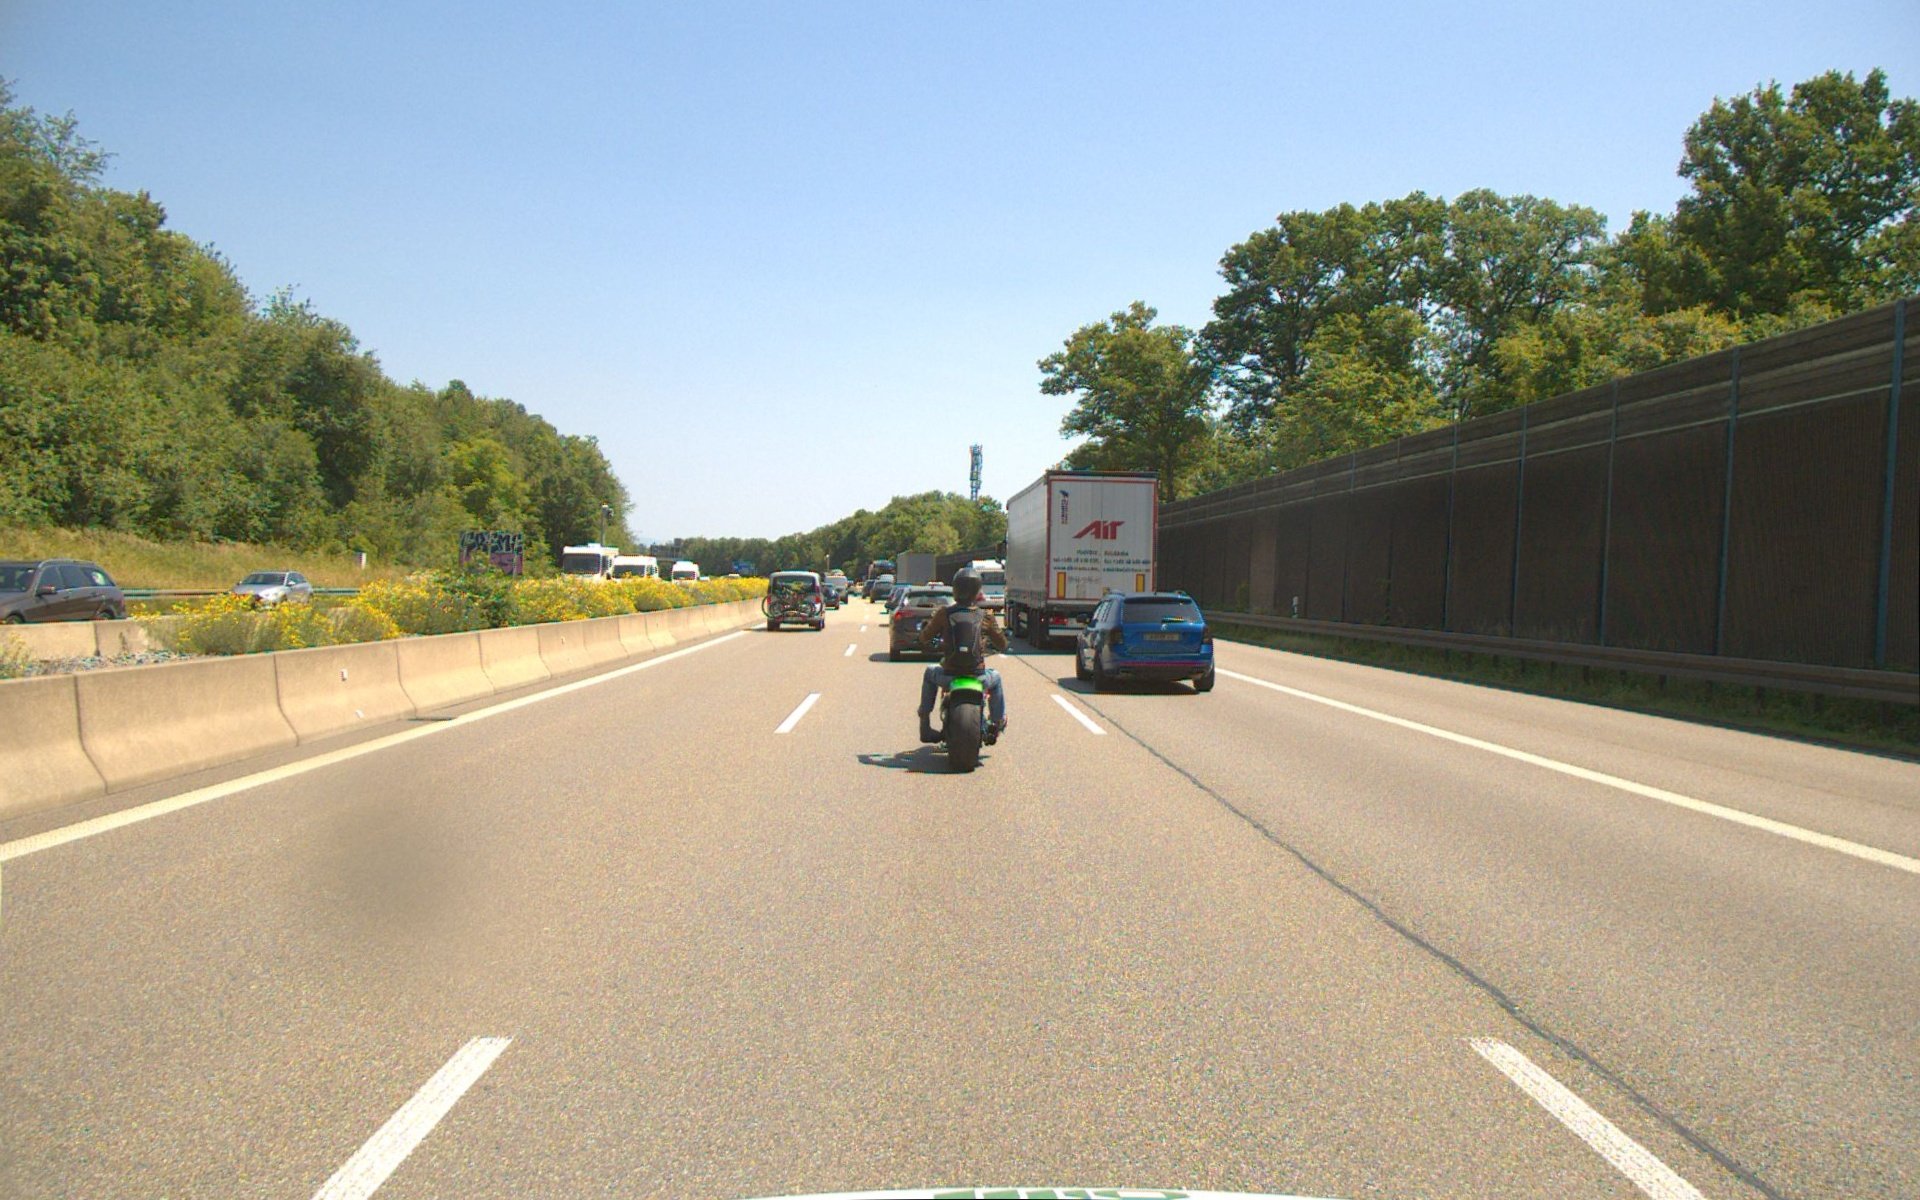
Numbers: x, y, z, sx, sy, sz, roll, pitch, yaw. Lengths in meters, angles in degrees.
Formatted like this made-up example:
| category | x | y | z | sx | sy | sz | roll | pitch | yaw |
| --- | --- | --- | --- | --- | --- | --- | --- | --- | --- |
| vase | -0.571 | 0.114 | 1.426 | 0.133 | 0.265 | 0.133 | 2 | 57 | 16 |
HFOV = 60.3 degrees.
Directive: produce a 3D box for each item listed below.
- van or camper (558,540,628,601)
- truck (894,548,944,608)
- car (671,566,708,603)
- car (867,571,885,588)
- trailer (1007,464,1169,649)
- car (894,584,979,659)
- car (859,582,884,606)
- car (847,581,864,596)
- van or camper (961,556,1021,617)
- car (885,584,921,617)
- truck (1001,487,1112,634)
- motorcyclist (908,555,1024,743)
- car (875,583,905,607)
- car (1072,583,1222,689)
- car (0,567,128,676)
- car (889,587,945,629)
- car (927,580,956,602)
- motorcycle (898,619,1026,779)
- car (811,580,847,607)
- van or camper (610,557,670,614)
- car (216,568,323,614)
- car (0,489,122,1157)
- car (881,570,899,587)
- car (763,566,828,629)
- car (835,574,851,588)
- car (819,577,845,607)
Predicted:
| category | x | y | z | sx | sy | sz | roll | pitch | yaw |
| --- | --- | --- | --- | --- | --- | --- | --- | --- | --- |
| van or camper | -21.965 | -1.688 | 99.438 | 2.489 | 3.375 | 8.998 | 0 | -1 | -2 |
| truck | -3.673 | -1.843 | 144.654 | 3.729 | 5.047 | 8.939 | 0 | -1 | -6 |
| car | -21.065 | -1.208 | 128.833 | 2.156 | 2.789 | 5.744 | 0 | 1 | -3 |
| car | -10.199 | -2.508 | 201.187 | 2.066 | 1.909 | 3.997 | 0 | -1 | -4 |
| trailer | 3.051 | -1.019 | 43.815 | 2.827 | 4.109 | 13.791 | 0 | 0 | -2 |
| car | -0.542 | 0.444 | 34.470 | 1.629 | 1.478 | 3.866 | 0 | -1 | -3 |
| car | -7.864 | -0.541 | 146.724 | 1.875 | 2.049 | 3.685 | 0 | -1 | -7 |
| car | -10.937 | -1.204 | 173.383 | 1.796 | 1.522 | 3.741 | 0 | -1 | -3 |
| van or camper | 1.465 | -0.622 | 81.429 | 2.631 | 2.862 | 6.800 | 0 | -1 | -1 |
| car | -2.817 | 0.015 | 82.245 | 1.743 | 1.579 | 3.584 | 1 | 1 | -1 |
| truck | 2.847 | -1.170 | 50.659 | 2.828 | 4.218 | 5.983 | 0 | 0 | -2 |
| motorcyclist | 0.081 | 0.403 | 14.181 | 0.881 | 1.501 | 1.873 | 0 | -1 | 3 |
| car | -5.020 | -0.347 | 117.879 | 1.954 | 1.669 | 3.996 | 0 | -1 | -5 |
| car | 2.834 | 0.536 | 25.897 | 1.618 | 1.508 | 4.478 | 0 | -1 | -3 |
| car | -15.263 | 0.297 | 26.286 | 1.953 | 1.614 | 4.272 | 0 | 0 | -1 |
| car | -1.557 | 0.287 | 59.746 | 1.953 | 1.455 | 3.846 | 0 | -1 | -2 |
| car | -1.449 | -0.702 | 127.411 | 1.954 | 1.601 | 3.996 | 0 | -1 | -5 |
| motorcycle | 0.072 | 0.788 | 14.271 | 0.944 | 1.168 | 2.813 | 1 | 1 | 3 |
| car | -7.277 | -0.338 | 92.084 | 1.954 | 1.411 | 3.996 | 0 | -1 | -4 |
| van or camper | -17.446 | -0.801 | 90.462 | 2.212 | 2.950 | 6.555 | 0 | 0 | -2 |
| car | -23.164 | -0.307 | 55.655 | 1.953 | 1.457 | 4.190 | 0 | 1 | -2 |
| car | -3.336 | 0.582 | 2.400 | 1.826 | 1.724 | 4.954 | 0 | 0 | -2 |
| car | -8.326 | -2.554 | 195.694 | 2.066 | 1.909 | 3.997 | 0 | -1 | -4 |
| car | -5.220 | -0.047 | 52.945 | 1.861 | 1.906 | 4.409 | 0 | -1 | -3 |
| car | -14.203 | -2.309 | 201.301 | 1.795 | 1.522 | 3.742 | 0 | -1 | -2 |
| car | -8.911 | -0.533 | 115.148 | 1.756 | 2.049 | 3.638 | 0 | -1 | -5 |
